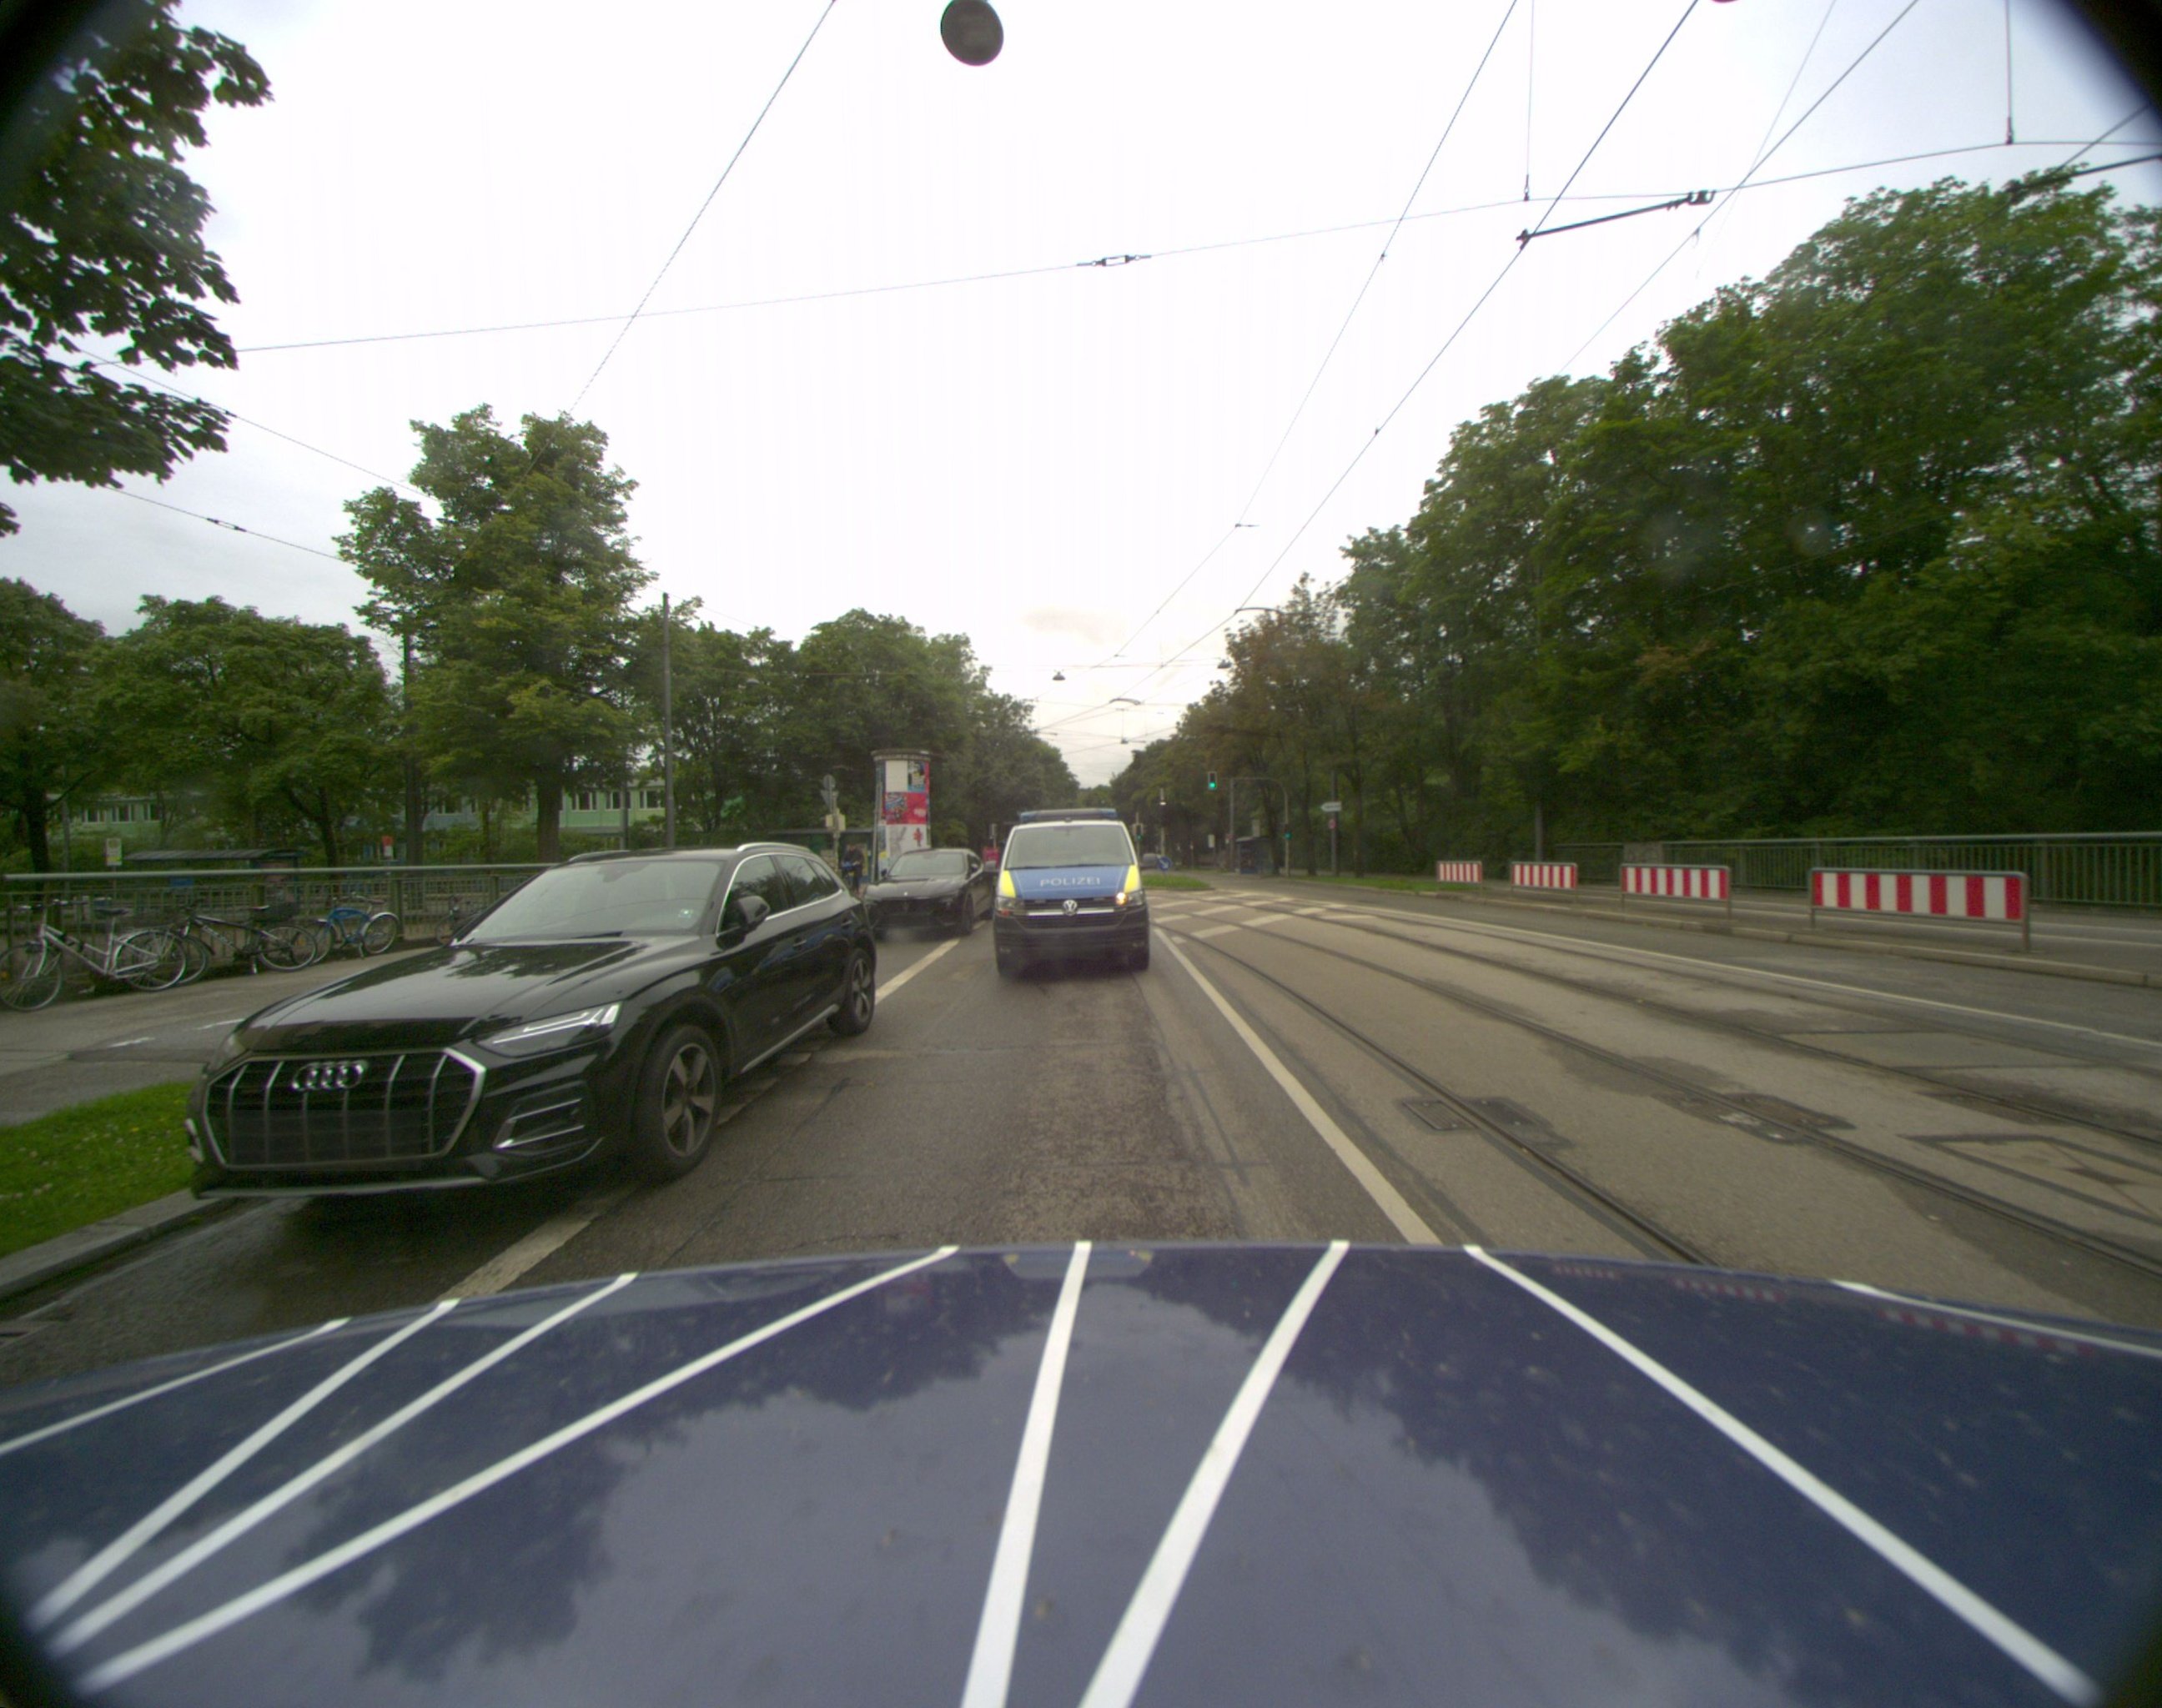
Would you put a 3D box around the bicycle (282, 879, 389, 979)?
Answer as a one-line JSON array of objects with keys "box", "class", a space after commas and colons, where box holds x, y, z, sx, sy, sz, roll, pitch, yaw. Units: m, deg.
[{"box": [-10.607, 1.026, 10.862, 0.282, 1.274, 1.409, -3, 1, -10], "class": "bicycle"}]

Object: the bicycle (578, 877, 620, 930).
[{"box": [-10.641, 1.068, 16.815, 0.265, 1.076, 1.540, -3, 1, -14], "class": "bicycle"}]

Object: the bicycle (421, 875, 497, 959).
[{"box": [-10.549, 1.034, 12.926, 0.282, 1.274, 1.409, -3, 1, -10], "class": "bicycle"}]

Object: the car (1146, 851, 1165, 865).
[{"box": [9.597, 0.518, 98.030, 1.888, 1.716, 3.999, -3, 1, -1], "class": "car"}]

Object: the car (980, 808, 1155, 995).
[{"box": [-0.191, 0.487, 11.265, 1.903, 2.041, 5.707, -1, 1, -1], "class": "car"}]

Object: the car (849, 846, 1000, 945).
[{"box": [-2.937, 0.702, 15.358, 1.905, 1.600, 4.665, -3, 0, 1], "class": "car"}]

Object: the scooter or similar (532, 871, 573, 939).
[{"box": [-10.492, 0.986, 15.111, 0.245, 1.255, 1.493, -3, 1, -21], "class": "scooter or similar"}]

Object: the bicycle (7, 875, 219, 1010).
[{"box": [-10.794, 0.928, 8.558, 0.333, 1.305, 1.537, -3, 1, 0], "class": "bicycle"}]

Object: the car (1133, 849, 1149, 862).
[{"box": [8.892, 0.230, 112.690, 1.888, 1.716, 3.999, -3, 1, -1], "class": "car"}]

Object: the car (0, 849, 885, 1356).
[{"box": [-2.817, 0.857, 4.860, 1.779, 1.648, 4.487, -2, 1, 1], "class": "car"}]

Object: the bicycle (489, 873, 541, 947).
[{"box": [-10.497, 1.008, 14.120, 0.283, 1.274, 1.408, -3, 1, -18], "class": "bicycle"}]

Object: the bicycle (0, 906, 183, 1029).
[{"box": [-10.722, 1.180, 8.263, 0.287, 1.099, 1.442, -2, 1, -6], "class": "bicycle"}]
